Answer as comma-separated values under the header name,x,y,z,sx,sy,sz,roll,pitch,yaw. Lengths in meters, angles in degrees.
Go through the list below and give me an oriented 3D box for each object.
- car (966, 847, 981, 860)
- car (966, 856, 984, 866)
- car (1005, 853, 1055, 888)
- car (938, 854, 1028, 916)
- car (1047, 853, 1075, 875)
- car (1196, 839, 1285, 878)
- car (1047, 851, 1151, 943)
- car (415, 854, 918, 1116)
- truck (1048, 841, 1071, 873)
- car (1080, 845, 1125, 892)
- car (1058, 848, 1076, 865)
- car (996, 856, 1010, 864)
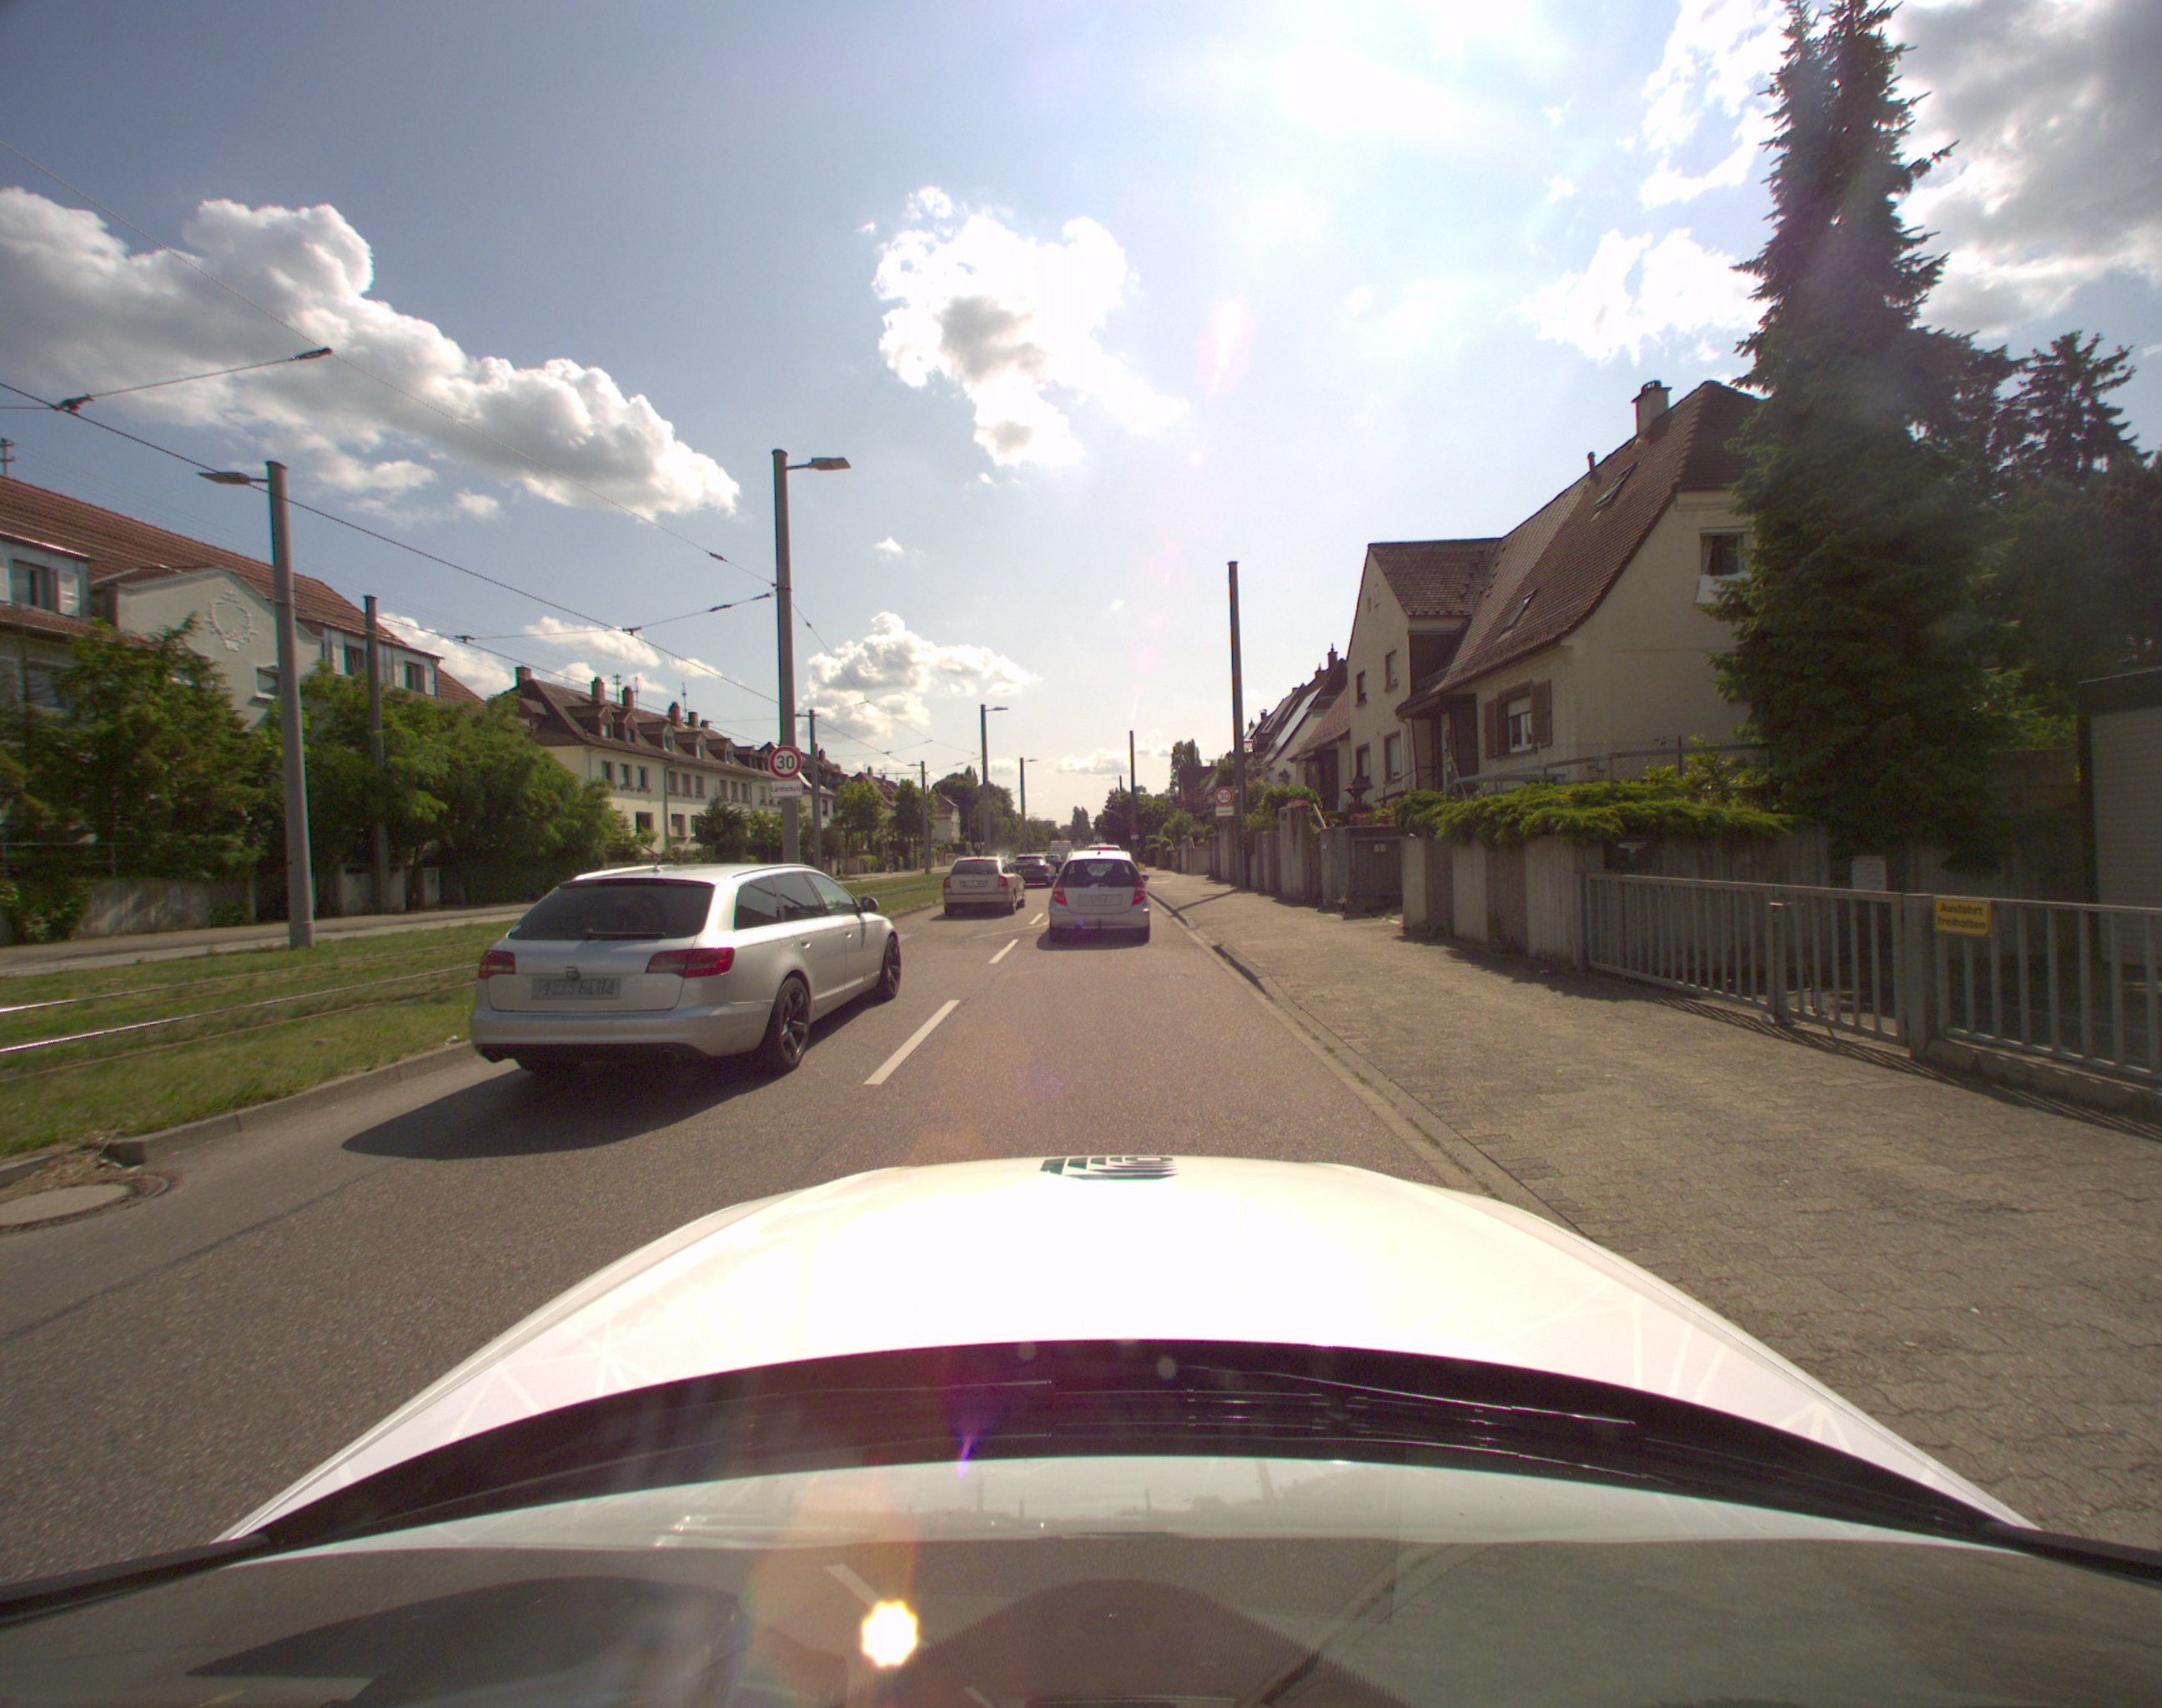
name,x,y,z,sx,sy,sz,roll,pitch,yaw
car,-20.397,-0.095,154.397,1.908,2.330,4.566,0,0,3
car,-15.733,1.071,121.314,1.908,1.477,4.566,0,0,3
car,-2.224,0.685,36.908,1.910,1.477,4.563,0,0,1
car,-2.445,0.739,21.190,1.725,1.449,4.124,0,0,1
car,-1.295,0.651,54.405,1.847,1.388,4.513,0,0,-1
car,7.959,0.208,40.892,3.977,1.684,1.998,-3,0,-3
car,0.299,0.710,15.536,1.724,1.517,4.016,0,0,0
car,-2.855,0.751,7.030,1.788,1.472,4.724,-1,0,2
truck,-1.780,0.237,68.819,1.846,2.552,5.853,0,0,0
car,0.874,0.554,32.932,1.723,1.762,4.018,0,0,2
car,-1.707,0.346,101.303,1.908,2.077,4.566,0,0,3
car,-14.973,1.140,156.309,1.908,1.477,4.566,0,0,3
